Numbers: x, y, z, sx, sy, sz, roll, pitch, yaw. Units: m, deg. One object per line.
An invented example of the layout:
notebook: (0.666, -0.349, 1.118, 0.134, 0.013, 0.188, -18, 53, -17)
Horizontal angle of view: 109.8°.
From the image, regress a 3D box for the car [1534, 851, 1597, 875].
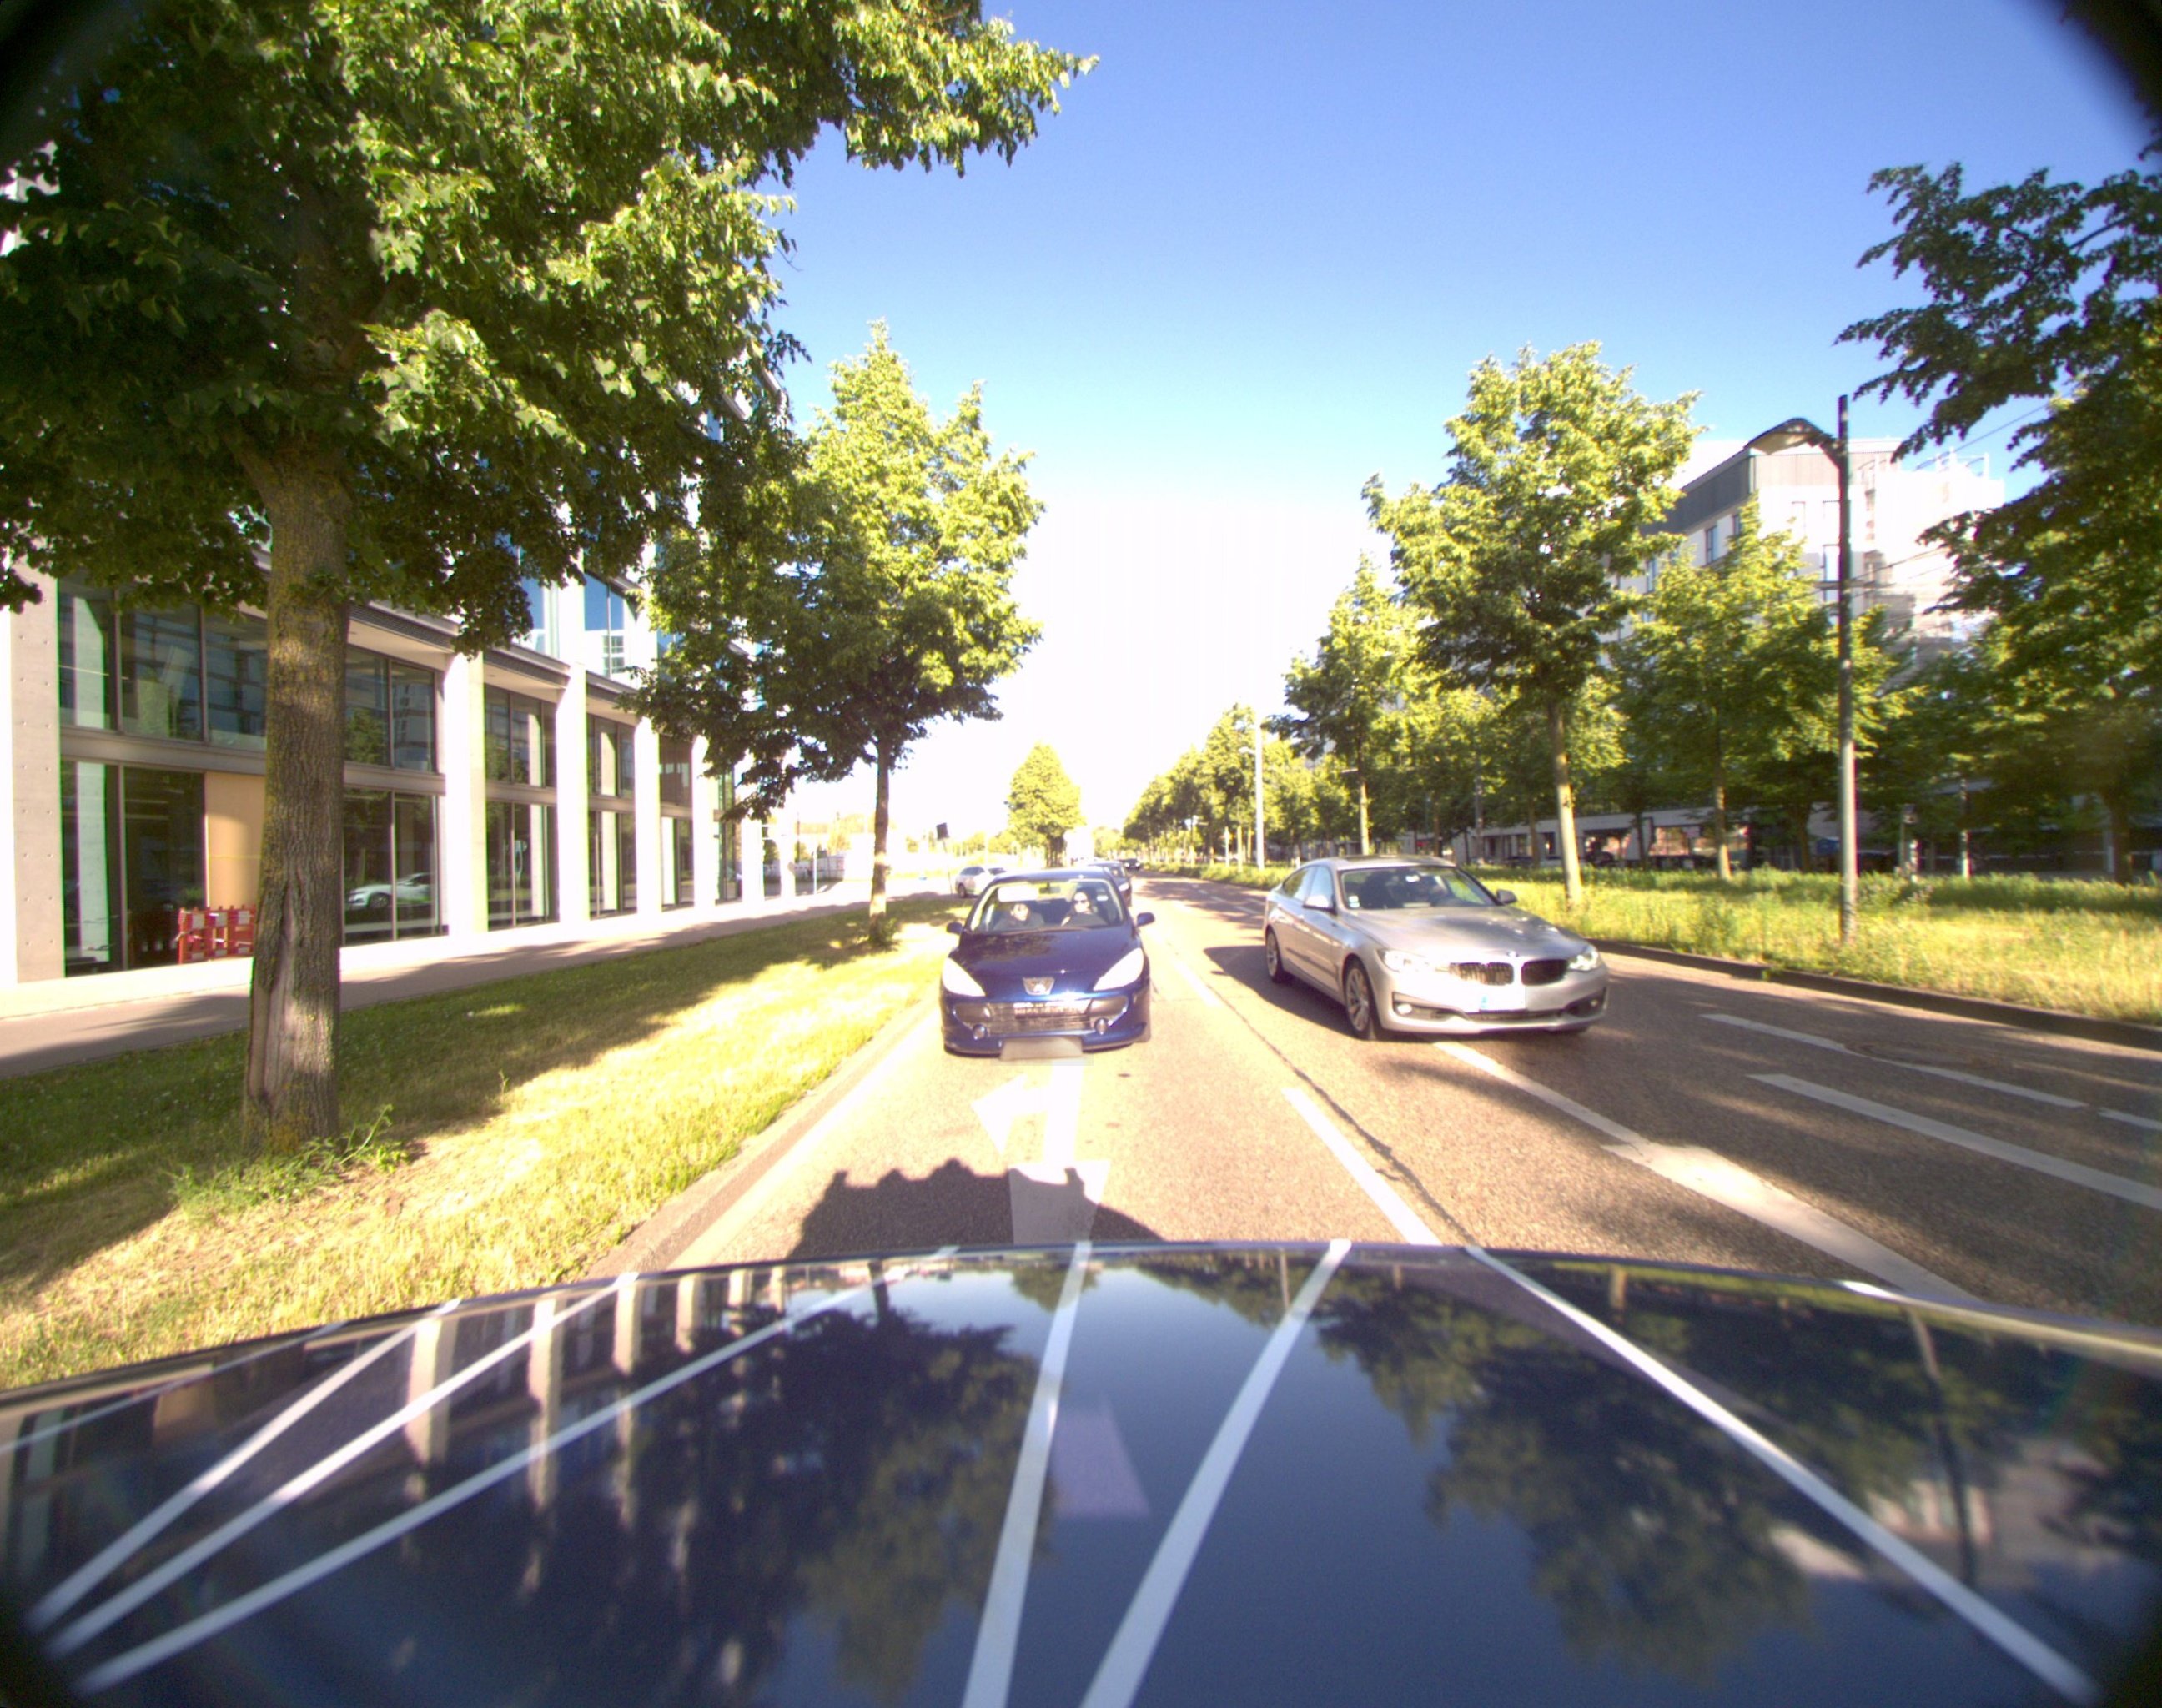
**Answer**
car: (34.887, 0.610, 54.820, 1.884, 1.588, 4.184, -1, 0, 1)

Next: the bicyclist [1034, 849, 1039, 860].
bicyclist: (-8.840, 0.108, 151.627, 0.931, 2.045, 1.121, -1, 1, 1)

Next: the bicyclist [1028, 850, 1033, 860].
bicyclist: (-10.009, 0.180, 151.426, 0.931, 2.045, 1.121, -1, 1, 1)

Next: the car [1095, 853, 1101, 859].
car: (5.075, 0.612, 224.851, 1.878, 1.561, 4.344, -1, 0, 2)

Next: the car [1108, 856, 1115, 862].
car: (8.194, 1.262, 205.107, 1.878, 1.577, 4.344, -1, 0, 2)

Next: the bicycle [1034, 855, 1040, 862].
bicycle: (-8.822, 0.866, 151.723, 0.931, 1.355, 4.000, -1, 0, 1)

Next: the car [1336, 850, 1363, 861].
car: (35.722, 0.226, 101.228, 1.999, 1.387, 3.999, -1, 0, -2)

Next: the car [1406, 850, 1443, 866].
car: (35.011, 0.409, 77.470, 1.884, 1.588, 4.184, -1, 0, 1)

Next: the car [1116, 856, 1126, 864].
car: (7.590, 1.056, 144.971, 1.878, 1.415, 4.344, -1, 0, 2)

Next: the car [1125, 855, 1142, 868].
car: (6.649, 0.933, 96.205, 1.861, 1.482, 4.000, -1, 0, 1)

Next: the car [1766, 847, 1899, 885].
car: (34.074, 0.495, 34.624, 1.951, 1.588, 4.184, -1, 0, 1)

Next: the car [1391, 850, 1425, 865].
car: (35.422, 0.342, 82.378, 1.884, 1.588, 4.184, -1, 0, 1)

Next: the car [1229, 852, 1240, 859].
car: (36.067, 0.349, 178.506, 1.998, 1.387, 4.001, -1, 0, 4)

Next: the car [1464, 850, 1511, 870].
car: (35.138, 0.502, 65.788, 1.884, 1.588, 4.184, -1, 0, 1)

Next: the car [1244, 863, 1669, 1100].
car: (2.987, 0.874, 7.326, 1.824, 1.476, 4.561, -1, 0, 0)

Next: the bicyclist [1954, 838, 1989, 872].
bicyclist: (37.493, 0.053, 31.998, 0.478, 1.416, 0.820, -1, 1, 1)

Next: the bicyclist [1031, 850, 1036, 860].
bicyclist: (-9.912, 0.135, 157.971, 0.931, 2.045, 1.121, -1, 1, 1)

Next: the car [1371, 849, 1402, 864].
car: (35.479, 0.288, 88.299, 1.884, 1.588, 4.184, -1, 0, 1)

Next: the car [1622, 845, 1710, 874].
car: (34.167, 0.315, 44.515, 1.951, 1.588, 4.184, -1, 0, 1)

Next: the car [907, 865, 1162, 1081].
car: (-0.317, 0.913, 7.837, 1.846, 1.473, 4.481, -1, 0, 1)

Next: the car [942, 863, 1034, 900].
car: (-4.133, 1.148, 33.139, 1.808, 1.439, 4.556, -1, 0, -39)

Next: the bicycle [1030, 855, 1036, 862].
bicycle: (-9.923, 0.894, 157.597, 0.931, 1.355, 4.000, -1, 0, 1)

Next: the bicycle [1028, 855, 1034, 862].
bicycle: (-10.002, 0.939, 151.415, 0.931, 1.355, 4.000, -1, 0, 1)

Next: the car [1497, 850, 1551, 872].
car: (35.173, 0.546, 60.505, 1.884, 1.588, 4.184, -1, 0, 1)

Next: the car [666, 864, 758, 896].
car: (-20.054, 1.389, 41.406, 3.996, 1.569, 2.000, -1, 0, 3)

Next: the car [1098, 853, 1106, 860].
car: (4.721, 0.529, 169.070, 1.724, 1.516, 4.000, -1, 0, 1)

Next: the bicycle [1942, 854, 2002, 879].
bicycle: (37.508, 0.504, 32.005, 0.478, 1.029, 1.756, -1, 0, 1)

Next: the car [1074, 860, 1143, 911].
car: (0.833, 0.951, 24.698, 1.998, 1.437, 4.622, -1, 0, 1)
